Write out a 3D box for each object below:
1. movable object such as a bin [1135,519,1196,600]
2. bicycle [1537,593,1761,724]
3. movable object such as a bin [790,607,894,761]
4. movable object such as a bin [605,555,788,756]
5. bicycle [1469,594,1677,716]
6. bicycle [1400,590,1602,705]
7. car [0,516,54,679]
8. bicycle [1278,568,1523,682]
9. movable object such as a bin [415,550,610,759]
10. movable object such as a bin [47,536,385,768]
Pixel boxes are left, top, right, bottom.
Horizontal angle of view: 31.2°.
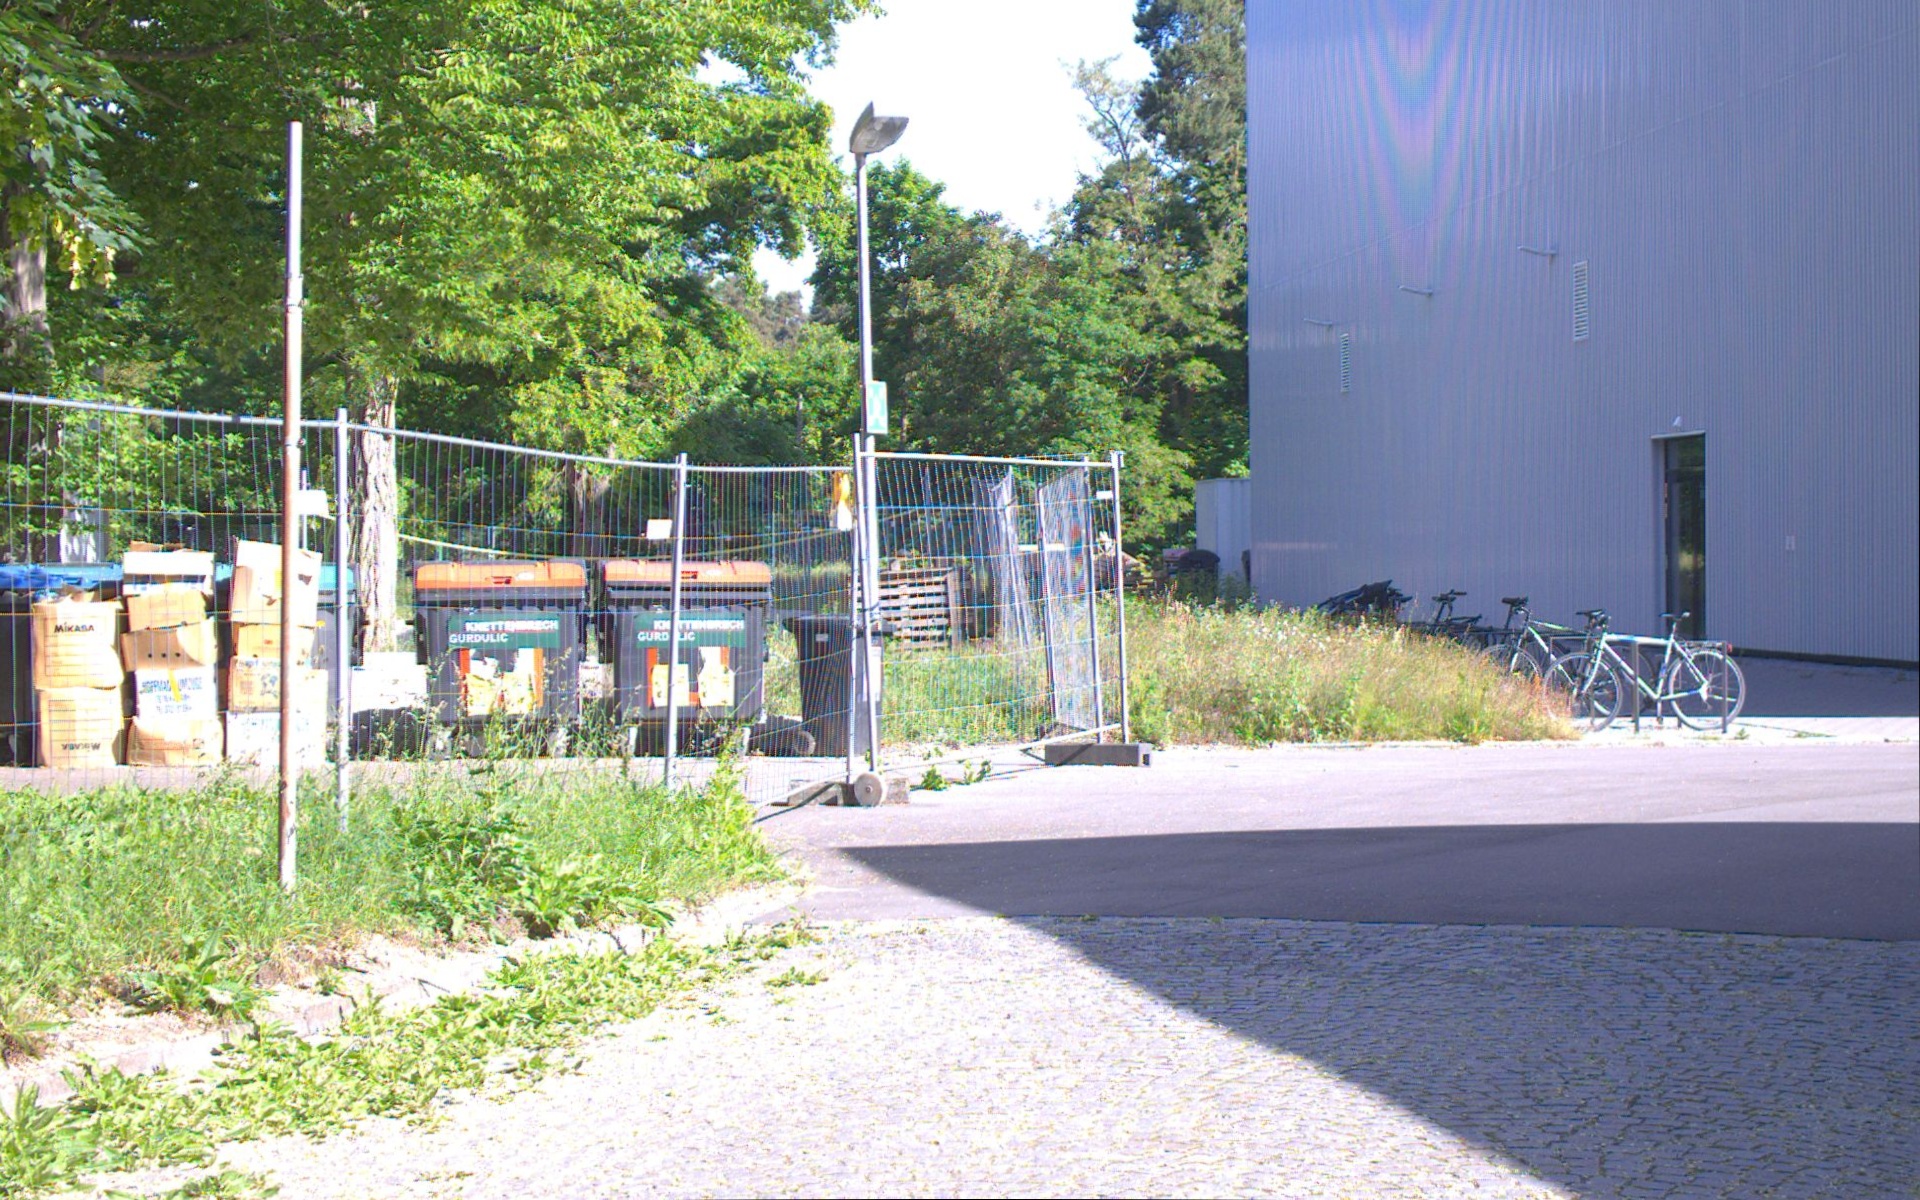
[{"bbox_3d":[5.123,-1.015,85.733,1.418,2.007,1.125,0,1,-2],"label":"movable object such as a bin"},{"bbox_3d":[5.766,0.485,28.776,1.799,1.058,0.459,-1,1,-11],"label":"bicycle"},{"bbox_3d":[-0.869,0.607,25.169,0.736,1.094,0.819,0,1,-3],"label":"movable object such as a bin"},{"bbox_3d":[-1.935,0.394,25.190,1.244,1.439,0.703,-1,1,-12],"label":"movable object such as a bin"},{"bbox_3d":[5.583,0.495,31.343,1.791,1.079,0.525,0,1,-4],"label":"bicycle"},{"bbox_3d":[5.329,0.464,33.883,1.887,1.091,0.526,-1,0,-7],"label":"bicycle"},{"bbox_3d":[-13.313,0.033,40.909,4.708,1.895,2.000,-2,0,-10],"label":"car"},{"bbox_3d":[5.044,0.280,39.508,2.630,1.262,1.141,0,1,-2],"label":"bicycle"},{"bbox_3d":[-3.262,0.379,25.013,1.337,1.479,0.807,-1,1,-12],"label":"movable object such as a bin"},{"bbox_3d":[-5.290,0.344,24.502,2.287,1.586,1.175,-1,1,-12],"label":"movable object such as a bin"}]
